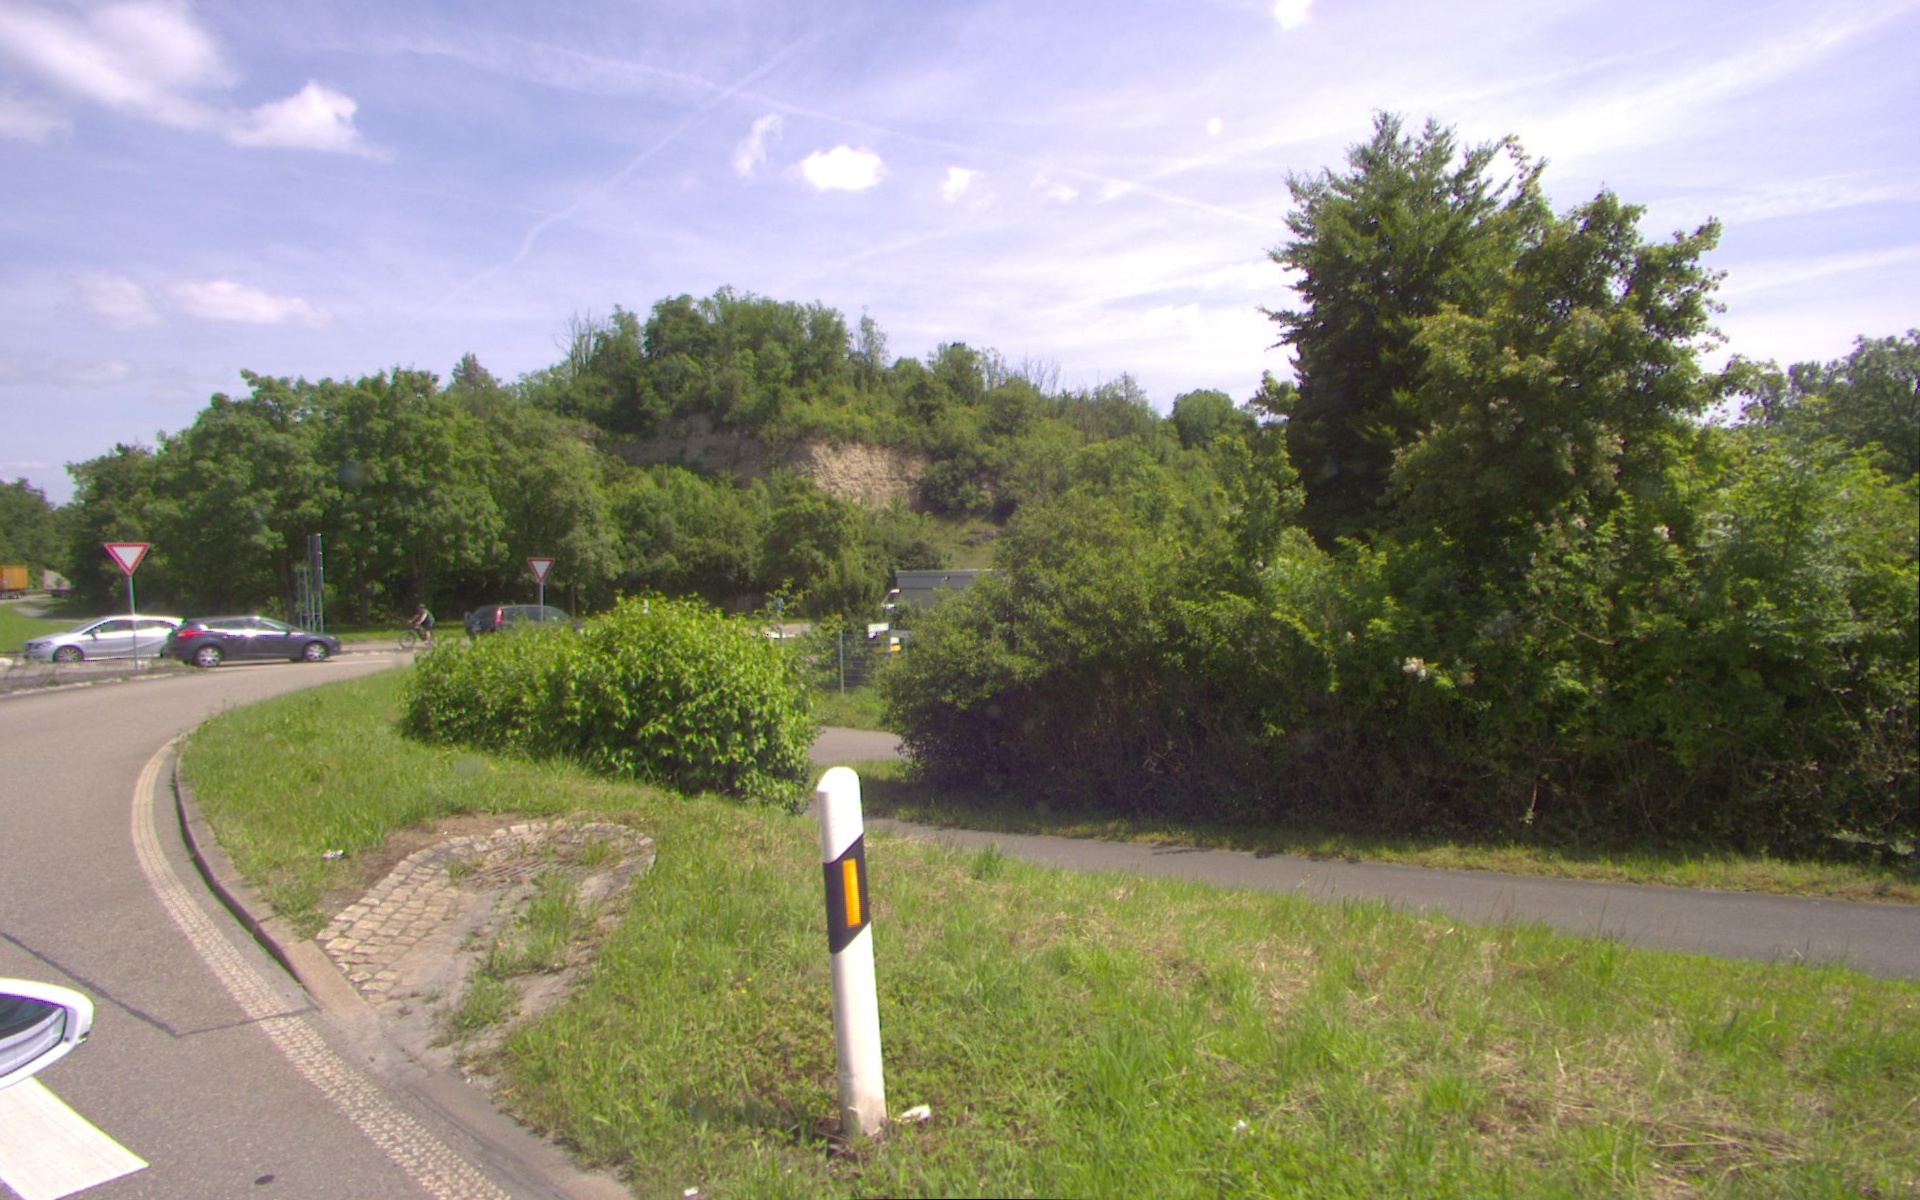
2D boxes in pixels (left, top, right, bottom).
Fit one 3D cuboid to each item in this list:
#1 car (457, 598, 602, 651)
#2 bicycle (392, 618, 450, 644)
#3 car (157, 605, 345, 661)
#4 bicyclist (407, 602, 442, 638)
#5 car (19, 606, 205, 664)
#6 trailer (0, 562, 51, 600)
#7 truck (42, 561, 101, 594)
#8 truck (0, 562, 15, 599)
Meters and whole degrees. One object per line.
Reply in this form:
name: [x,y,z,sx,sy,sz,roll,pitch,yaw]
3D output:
car: [-16.100,0.940,37.719,1.969,1.807,4.926,-2,-3,26]
bicycle: [-22.292,1.288,41.431,0.785,1.008,1.987,-2,-2,29]
car: [-21.011,0.987,29.795,1.978,1.509,4.225,-3,-3,40]
bicyclist: [-22.230,0.832,41.586,0.784,1.466,1.004,-2,-2,30]
car: [-27.957,1.157,33.135,1.975,1.740,4.413,-3,-3,37]
trailer: [-118.757,-2.293,123.126,4.951,4.420,20.742,0,0,-27]
truck: [-117.970,-2.928,133.148,3.142,4.083,11.686,-1,1,-28]
truck: [-115.286,-2.291,116.213,4.951,4.420,11.711,0,0,-27]
